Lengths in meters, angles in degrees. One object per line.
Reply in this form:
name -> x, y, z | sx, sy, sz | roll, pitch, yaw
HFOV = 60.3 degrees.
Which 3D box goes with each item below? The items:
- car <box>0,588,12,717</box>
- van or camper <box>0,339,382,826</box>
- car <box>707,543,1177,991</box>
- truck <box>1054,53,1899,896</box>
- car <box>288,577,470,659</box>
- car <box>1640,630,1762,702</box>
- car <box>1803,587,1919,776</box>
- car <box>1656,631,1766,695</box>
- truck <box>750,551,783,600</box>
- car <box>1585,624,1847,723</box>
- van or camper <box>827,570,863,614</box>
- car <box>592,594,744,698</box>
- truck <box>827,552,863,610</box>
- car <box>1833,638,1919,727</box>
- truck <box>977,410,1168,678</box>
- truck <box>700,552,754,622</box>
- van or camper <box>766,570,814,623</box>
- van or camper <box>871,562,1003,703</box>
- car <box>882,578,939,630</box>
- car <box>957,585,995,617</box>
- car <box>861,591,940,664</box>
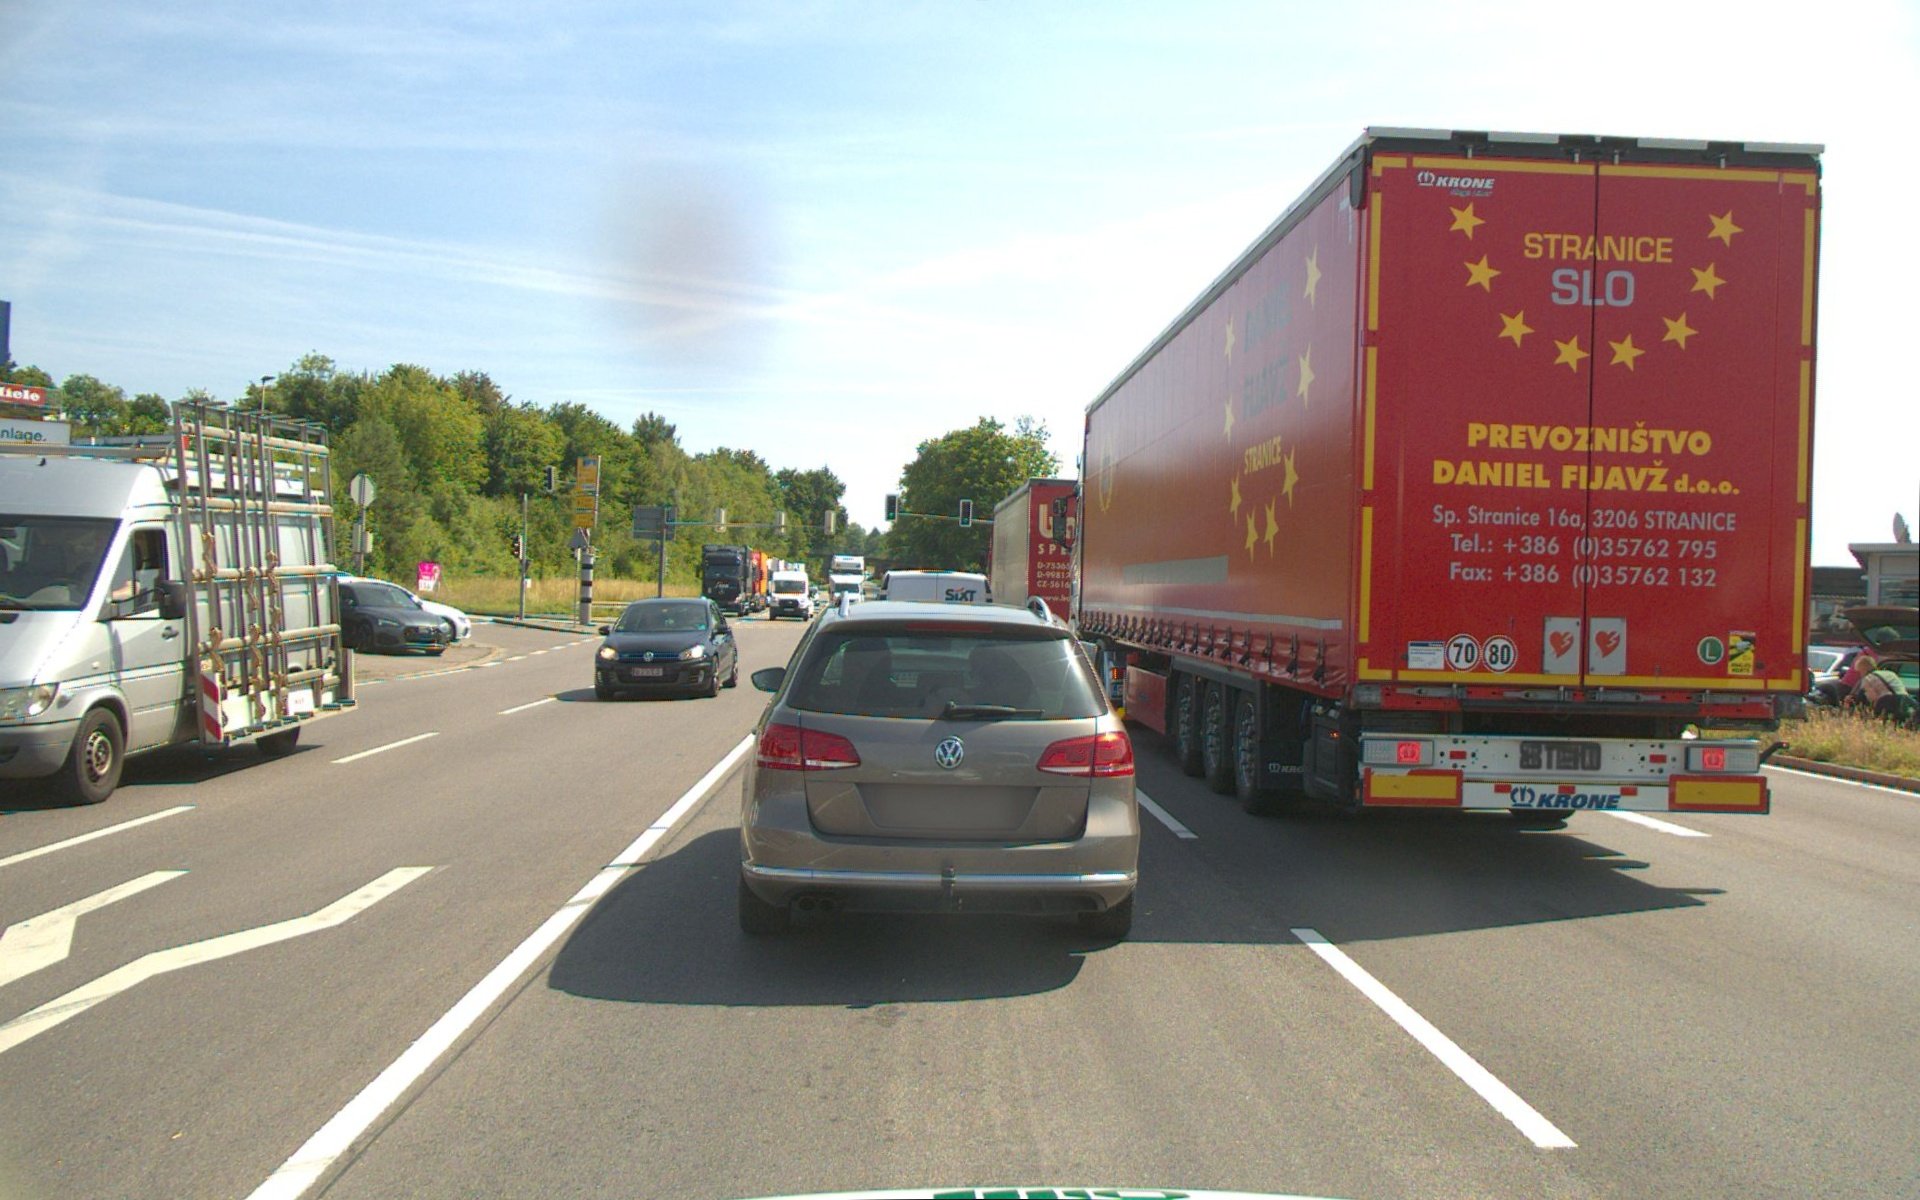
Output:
car -> -12.830, 0.583, 18.166 | 3.740, 1.473, 1.842 | 1, 0, -3
van or camper -> -6.808, -0.129, 13.490 | 2.162, 3.109, 5.901 | 0, 0, -1
car -> -0.028, 0.629, 7.972 | 1.753, 1.667, 3.504 | 0, 0, 1
truck -> 3.198, -0.683, 16.969 | 2.897, 4.344, 16.577 | 1, 0, -2
car -> -13.060, 0.367, 37.044 | 4.453, 1.723, 2.116 | 1, 0, 45
car -> 17.714, 1.539, 39.450 | 1.657, 1.558, 3.575 | 2, 0, 41
car -> 11.481, 0.887, 18.572 | 3.788, 1.954, 1.688 | 1, 0, -27
car -> 19.953, 1.643, 43.889 | 1.657, 1.558, 3.575 | 2, 0, 41
truck -> -15.823, -1.981, 135.612 | 2.484, 3.852, 6.981 | 0, 0, -6
car -> 13.733, 1.293, 30.257 | 1.973, 1.558, 3.960 | 2, 0, -30
van or camper -> -7.913, -0.545, 114.143 | 2.179, 2.890, 5.708 | 2, -1, -2
car -> -4.330, 0.635, 25.078 | 1.632, 1.434, 3.925 | -1, 0, -1
truck -> -8.929, -1.483, 128.841 | 2.501, 4.383, 7.592 | 0, 0, -2
car -> 18.298, 1.539, 31.605 | 1.964, 1.558, 3.976 | 2, 0, 41
truck -> 2.366, -1.161, 41.845 | 3.001, 5.312, 17.000 | 1, 0, -2
truck -> -13.233, -0.735, 94.486 | 2.758, 3.852, 6.981 | 0, 0, -6
van or camper -> -8.707, -0.171, 84.977 | 2.130, 2.596, 4.168 | 2, 0, -2
van or camper -> -0.400, 0.454, 25.286 | 1.815, 1.939, 3.783 | 2, 0, -2
car -> -1.547, 0.130, 52.624 | 1.692, 1.545, 3.311 | 2, -1, -1
car -> 0.773, 0.075, 82.981 | 1.692, 1.545, 3.310 | 2, -1, -2
car -> -1.342, 0.612, 37.789 | 1.692, 1.545, 3.311 | 2, -1, -2
